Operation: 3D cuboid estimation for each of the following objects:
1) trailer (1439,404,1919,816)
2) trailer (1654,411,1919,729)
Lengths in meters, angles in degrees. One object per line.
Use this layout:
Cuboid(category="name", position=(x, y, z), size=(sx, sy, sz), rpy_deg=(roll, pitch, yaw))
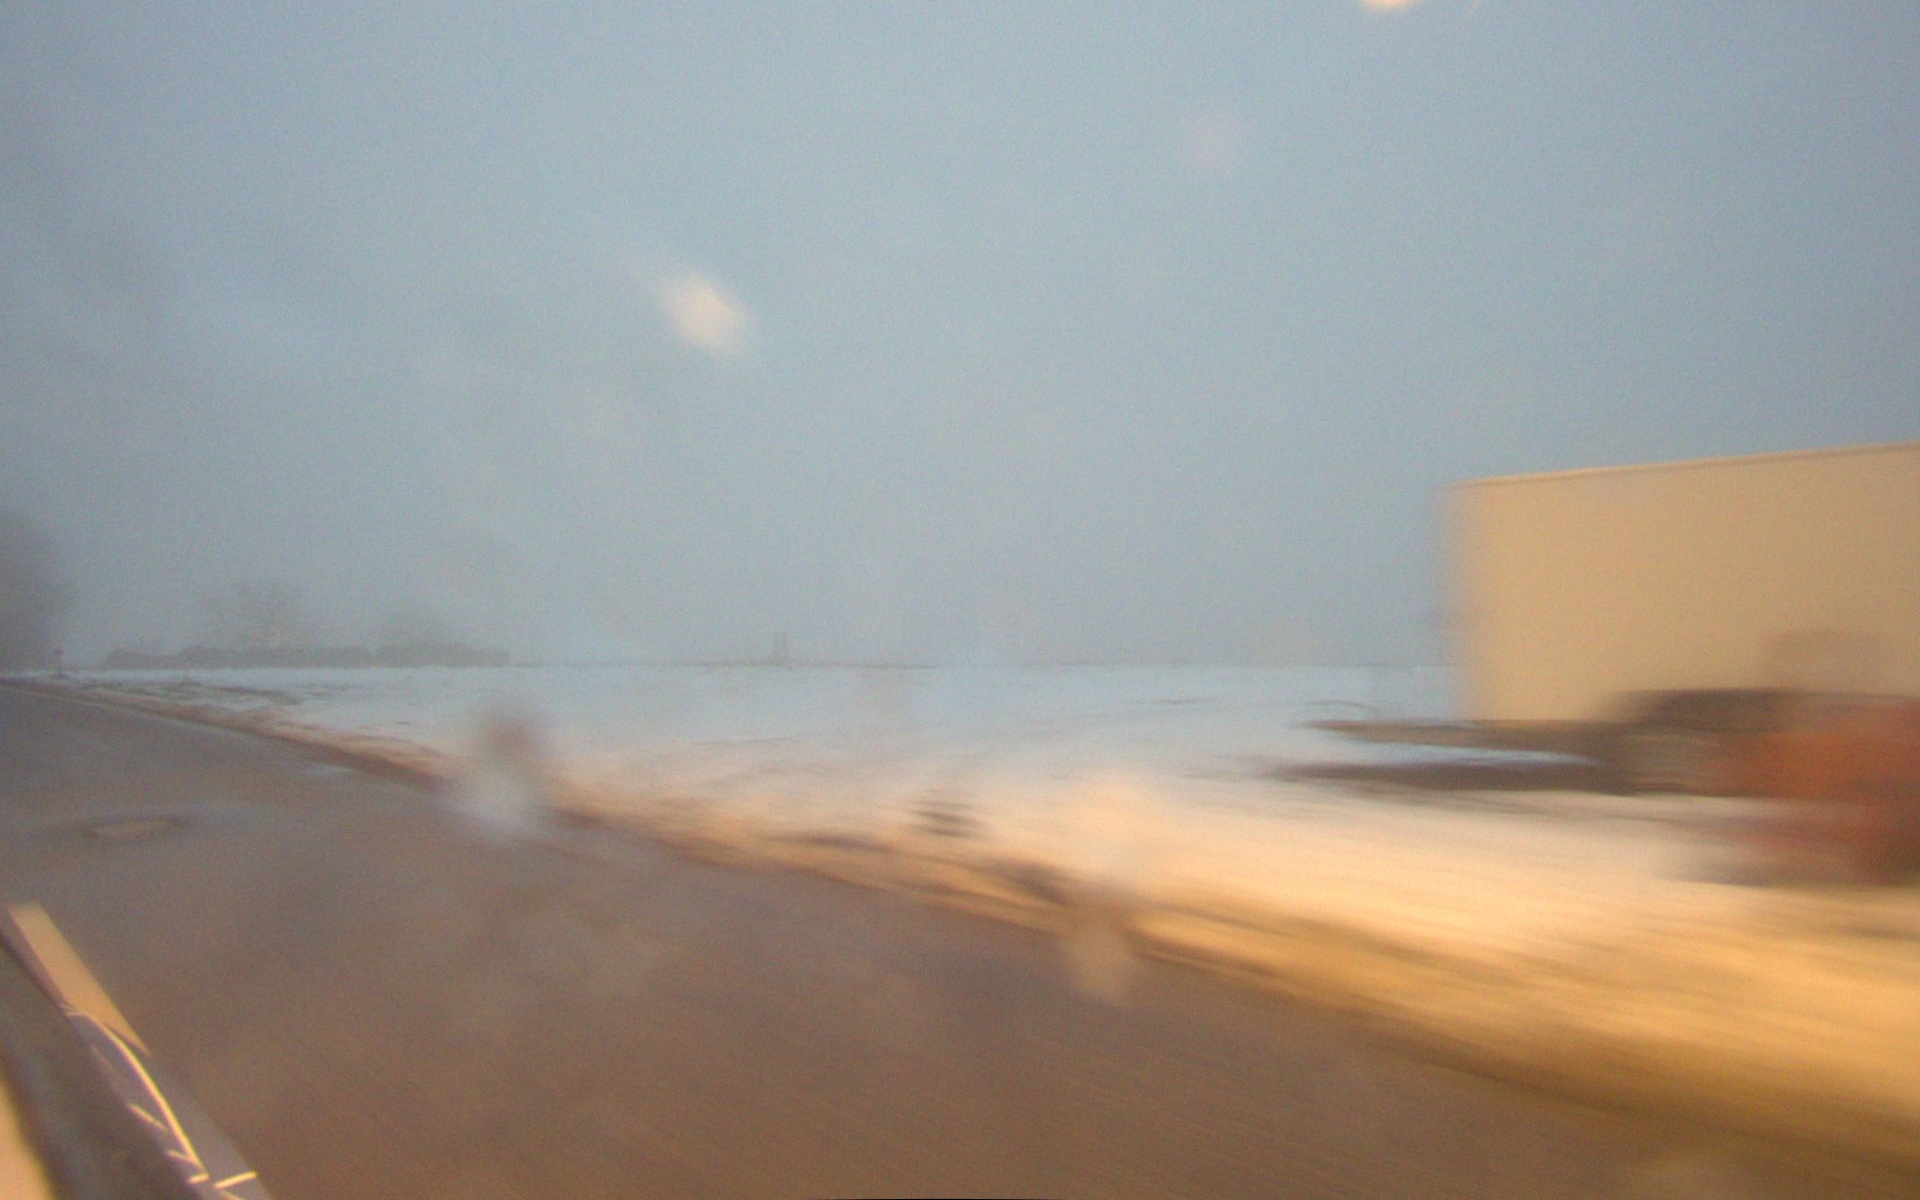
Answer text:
Cuboid(category="trailer", position=(5.568, 0.111, 7.583), size=(3.422, 2.625, 1.682), rpy_deg=(-1, -3, 22))
Cuboid(category="trailer", position=(8.465, -0.215, 8.419), size=(1.968, 2.508, 4.016), rpy_deg=(3, -4, -40))
